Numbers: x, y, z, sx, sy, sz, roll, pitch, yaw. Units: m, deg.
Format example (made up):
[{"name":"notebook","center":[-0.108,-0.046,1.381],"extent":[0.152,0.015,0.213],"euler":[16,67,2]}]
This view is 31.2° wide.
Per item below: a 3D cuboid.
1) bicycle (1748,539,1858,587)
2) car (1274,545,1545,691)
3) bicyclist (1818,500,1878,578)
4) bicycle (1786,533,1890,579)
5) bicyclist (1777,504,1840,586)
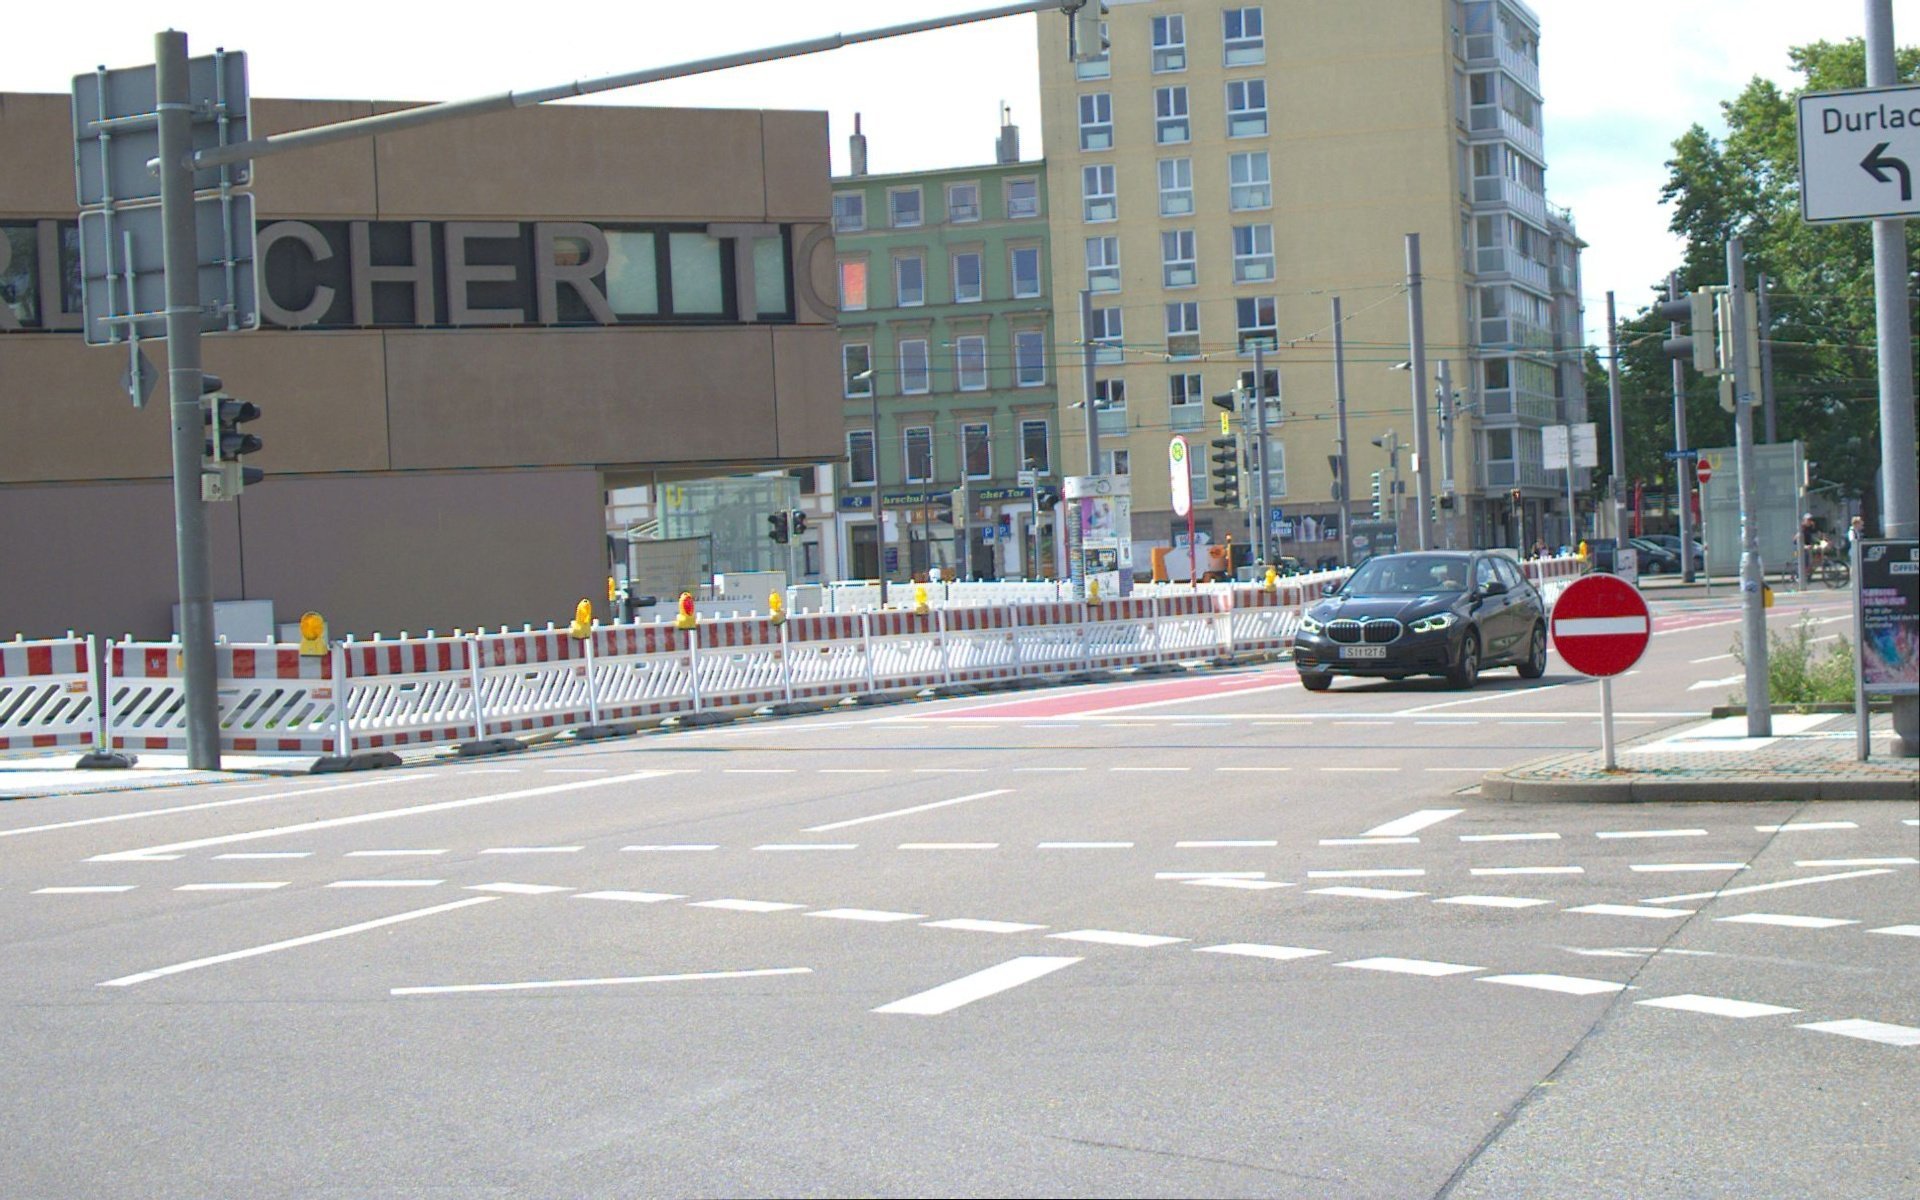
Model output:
[{"name":"bicycle","center":[20.234,-0.891,82.565],"extent":[2.383,1.063,0.857],"euler":[-2,1,31]},{"name":"car","center":[4.839,0.154,36.531],"extent":[1.794,1.383,4.222],"euler":[-2,1,22]},{"name":"bicyclist","center":[22.399,-1.540,86.732],"extent":[1.221,1.903,0.833],"euler":[-2,1,30]},{"name":"bicycle","center":[22.179,-1.105,86.877],"extent":[2.383,1.063,0.841],"euler":[-2,1,31]},{"name":"bicyclist","center":[20.360,-1.316,82.482],"extent":[1.221,1.903,0.857],"euler":[-2,1,30]}]
